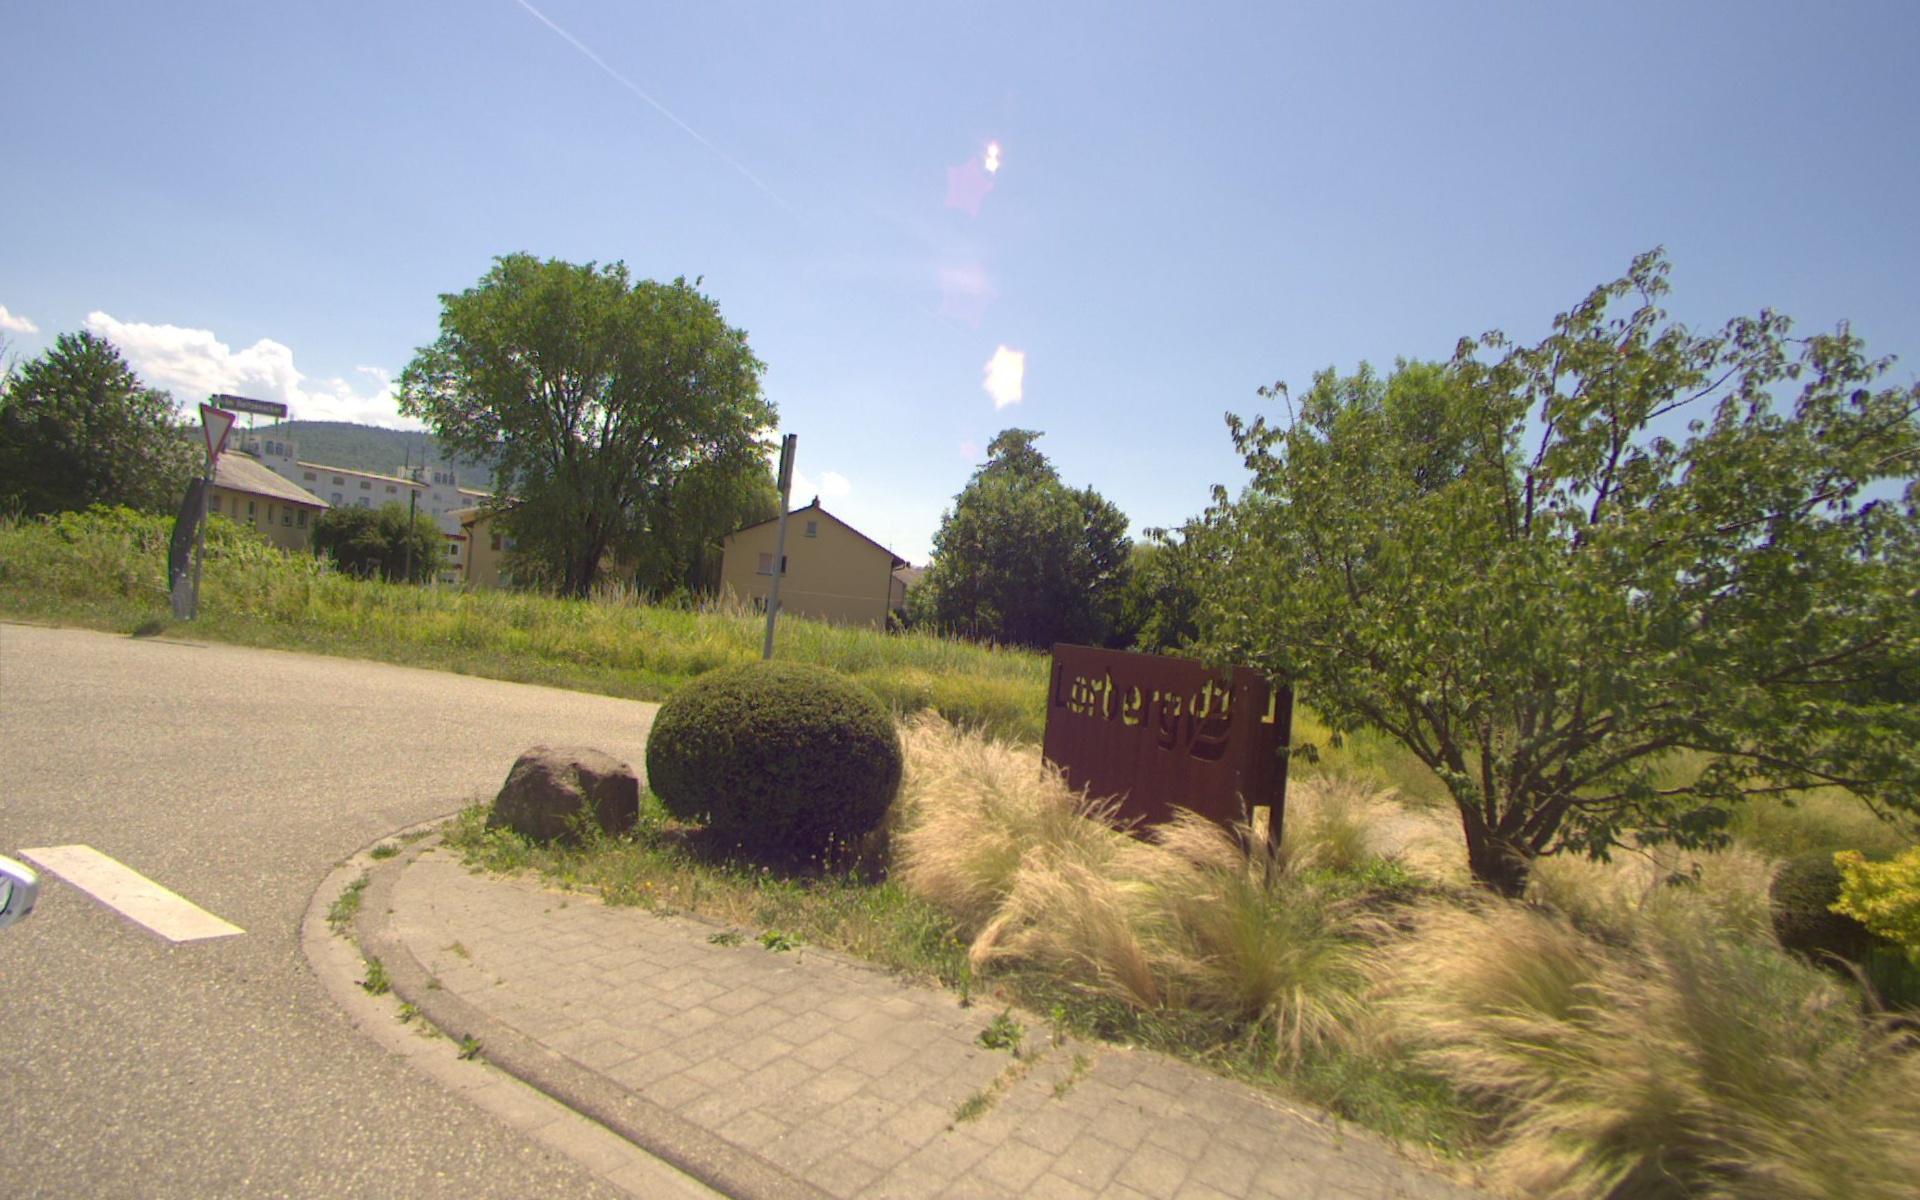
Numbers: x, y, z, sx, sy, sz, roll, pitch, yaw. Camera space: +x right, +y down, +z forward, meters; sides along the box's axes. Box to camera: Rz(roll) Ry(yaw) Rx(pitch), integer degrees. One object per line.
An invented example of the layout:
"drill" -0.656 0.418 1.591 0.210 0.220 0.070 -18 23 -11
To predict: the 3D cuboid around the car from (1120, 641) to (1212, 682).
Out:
"car" 11.330 3.377 55.453 4.437 1.644 1.996 7 0 -10
